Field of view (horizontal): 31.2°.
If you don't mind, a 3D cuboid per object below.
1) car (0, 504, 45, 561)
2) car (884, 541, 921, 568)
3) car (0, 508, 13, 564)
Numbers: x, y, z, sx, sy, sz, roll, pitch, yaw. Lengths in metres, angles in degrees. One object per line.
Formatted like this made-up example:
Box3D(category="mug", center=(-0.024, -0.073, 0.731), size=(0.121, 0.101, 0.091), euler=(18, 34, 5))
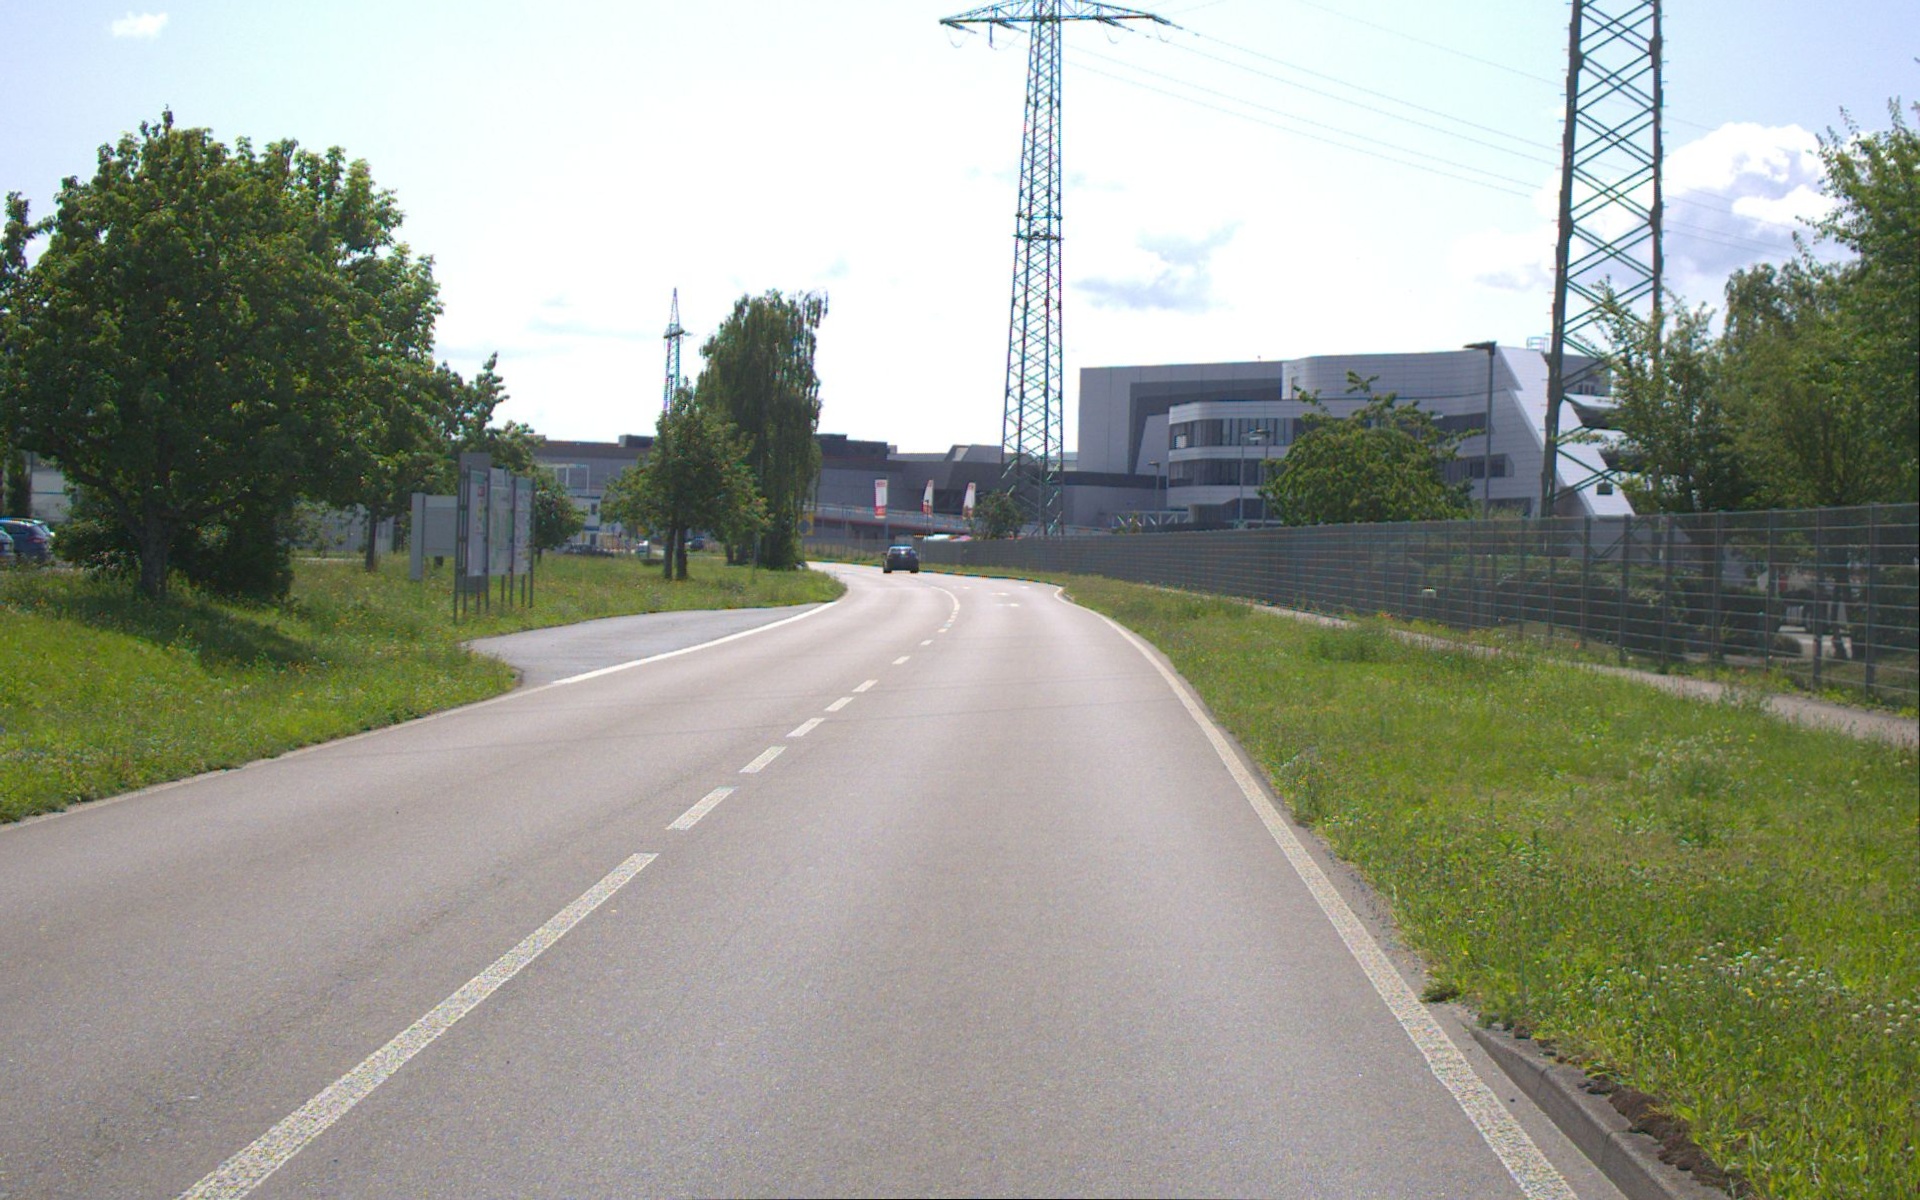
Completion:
Box3D(category="car", center=(-29.409, -2.080, 102.108), size=(3.986, 1.634, 2.000), euler=(3, 1, -5))
Box3D(category="car", center=(-3.303, -2.637, 197.480), size=(2.012, 1.503, 4.000), euler=(-1, 1, -2))
Box3D(category="car", center=(-28.562, -1.872, 95.605), size=(3.986, 1.550, 1.666), euler=(2, 1, -5))
